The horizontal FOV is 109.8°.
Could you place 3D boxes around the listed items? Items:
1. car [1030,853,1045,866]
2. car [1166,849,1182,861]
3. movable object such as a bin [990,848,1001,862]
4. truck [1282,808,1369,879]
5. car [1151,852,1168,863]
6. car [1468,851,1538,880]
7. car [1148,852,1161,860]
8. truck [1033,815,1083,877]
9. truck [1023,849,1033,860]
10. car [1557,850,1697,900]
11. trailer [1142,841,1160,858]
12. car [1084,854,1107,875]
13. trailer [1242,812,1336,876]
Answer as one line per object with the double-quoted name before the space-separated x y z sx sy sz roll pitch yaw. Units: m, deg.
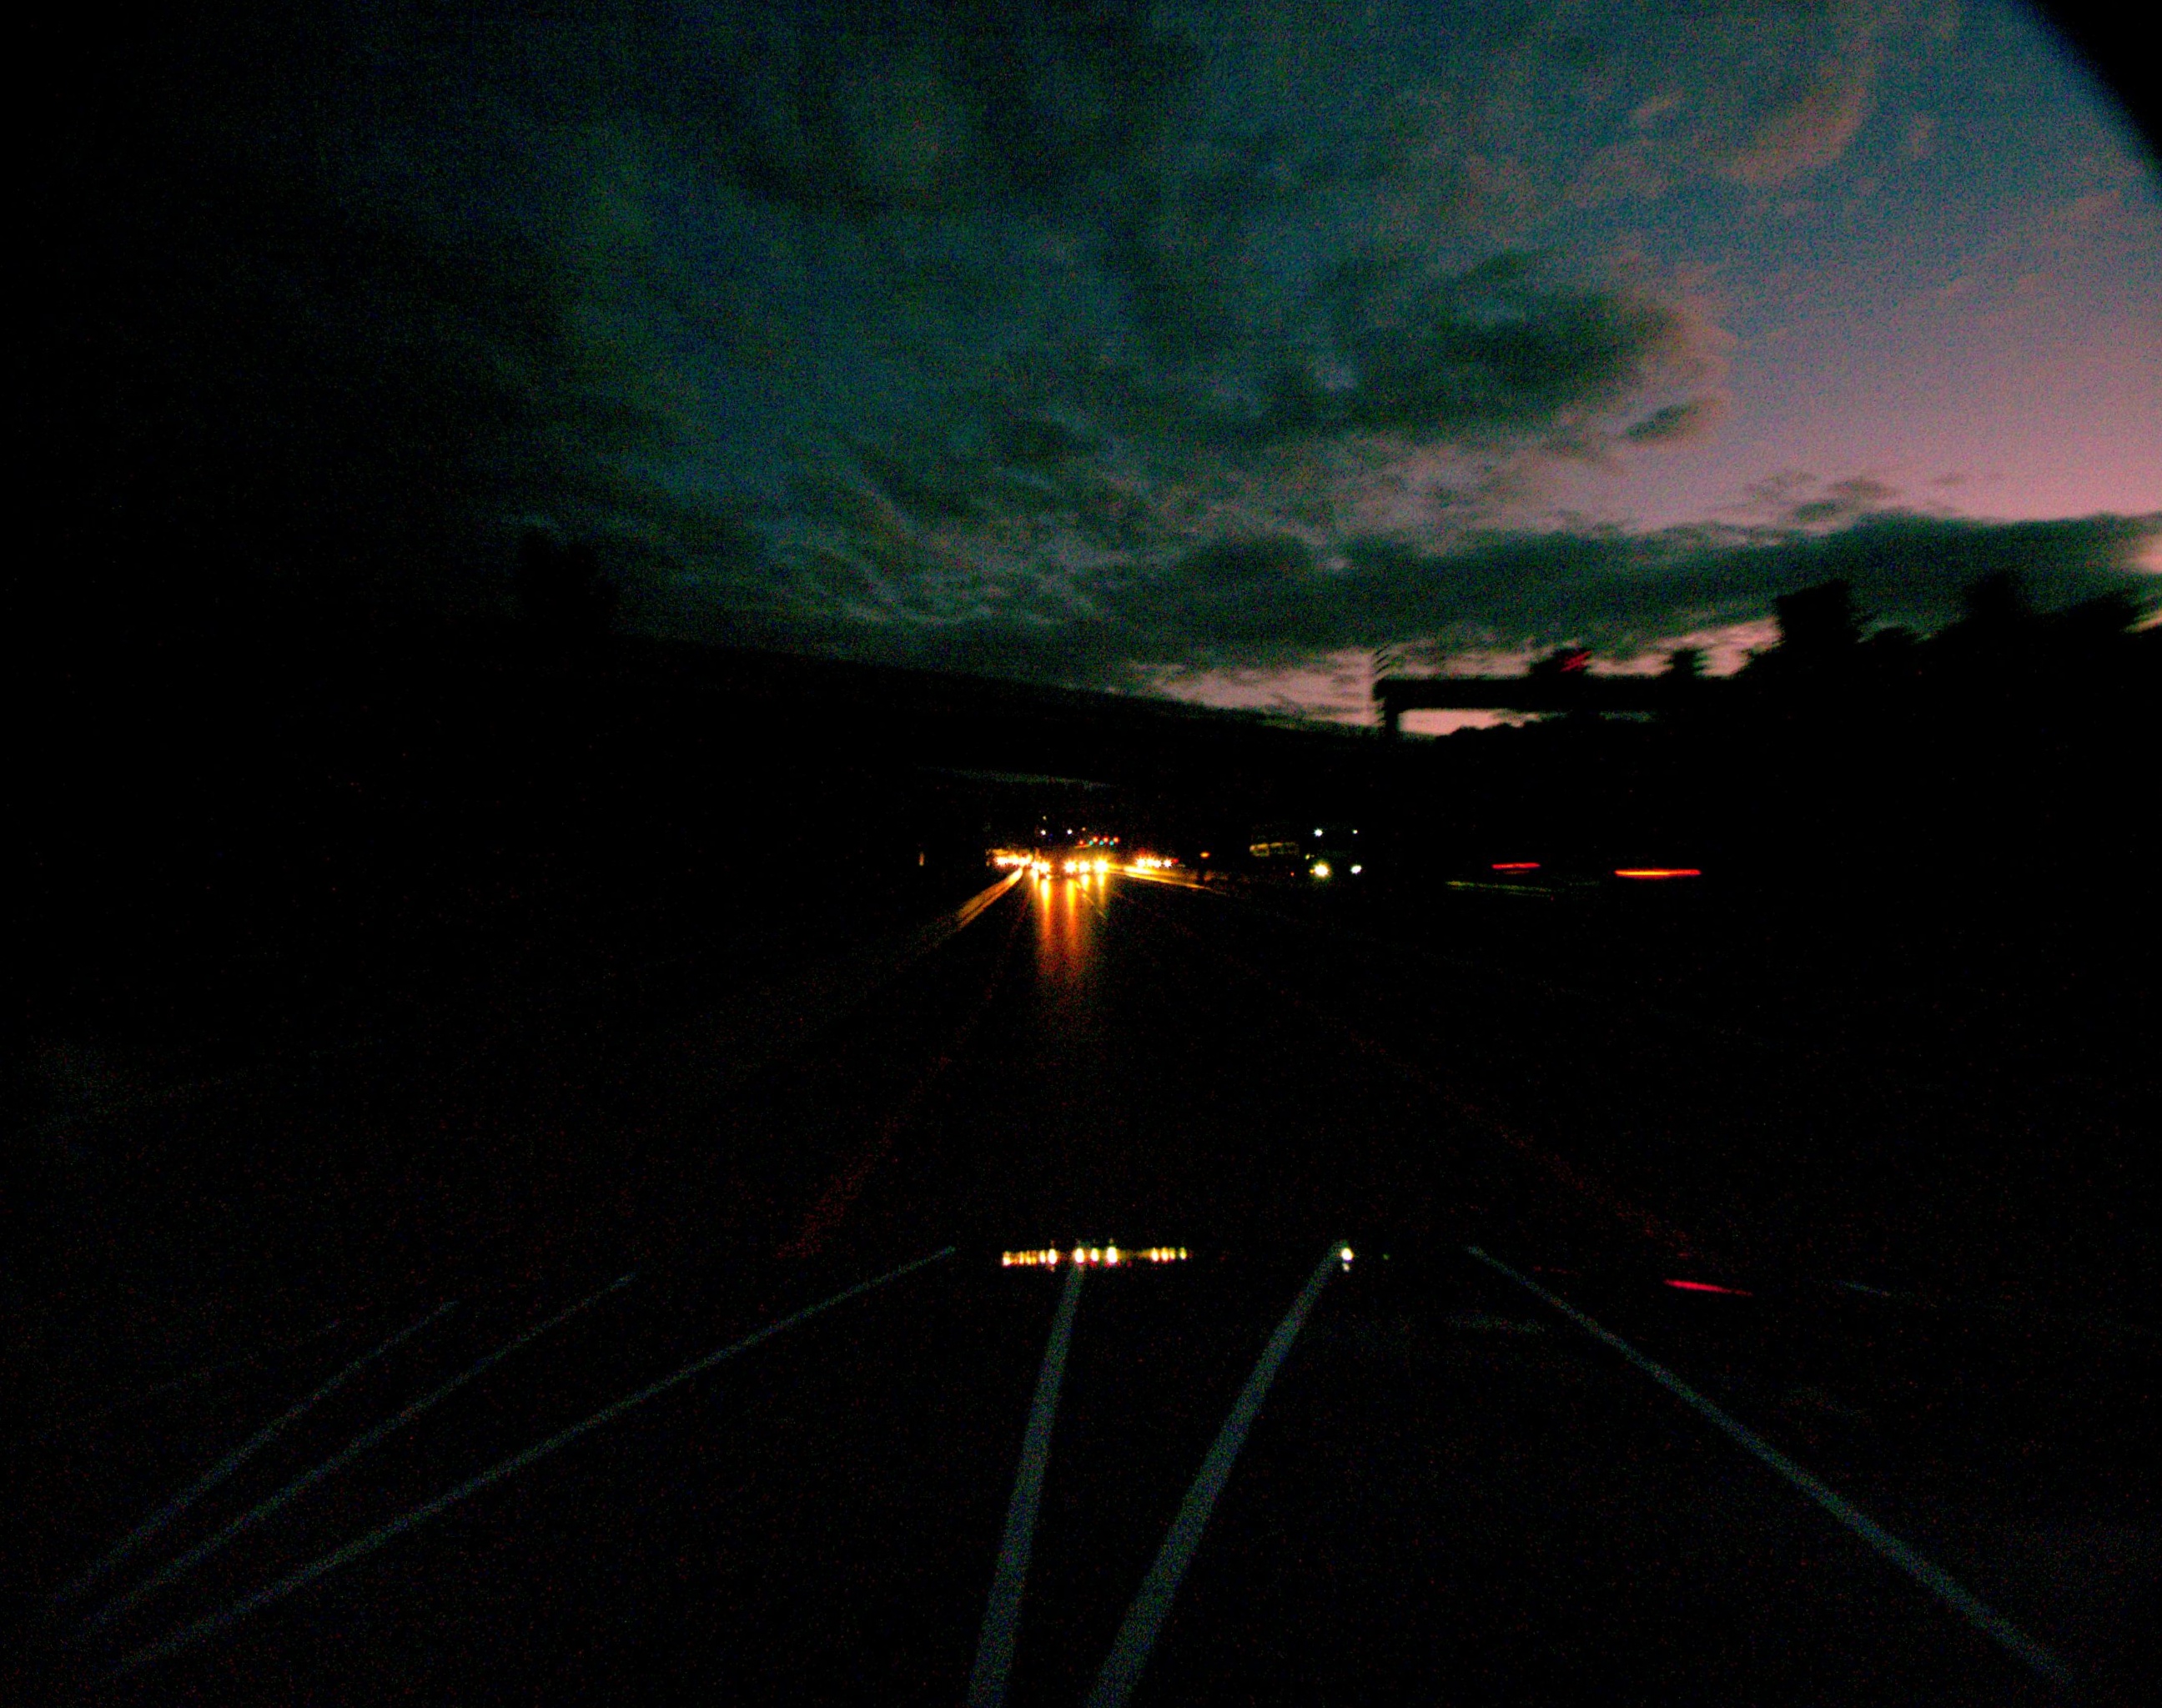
"car" -5.949 0.737 104.021 1.926 1.606 3.998 -1 0 -5
"car" 17.575 0.170 143.454 1.999 2.177 4.800 -3 1 -4
"movable object such as a bin" -20.250 0.196 180.422 2.629 3.090 5.802 -1 0 -6
"truck" 14.260 -0.595 44.909 2.810 3.753 6.300 -3 1 -2
"car" 11.561 0.547 112.141 1.792 1.472 3.998 -3 1 -4
"car" 23.813 0.603 43.025 1.707 1.447 3.929 -3 1 -1
"car" 15.991 0.365 164.845 1.999 1.664 4.580 -3 1 -4
"truck" -1.960 -0.599 59.148 2.955 4.241 11.046 -3 1 -6
"truck" -14.418 0.042 206.761 1.998 2.817 6.295 -3 1 0
"car" 20.766 0.721 29.201 1.835 1.651 4.840 -3 1 0
"trailer" 17.814 -1.206 193.024 2.786 4.181 12.398 -3 1 -2
"car" 1.163 0.828 63.136 1.663 1.586 3.995 -3 1 -1
"trailer" 14.005 -0.660 52.562 2.806 3.761 11.832 -3 1 -2
